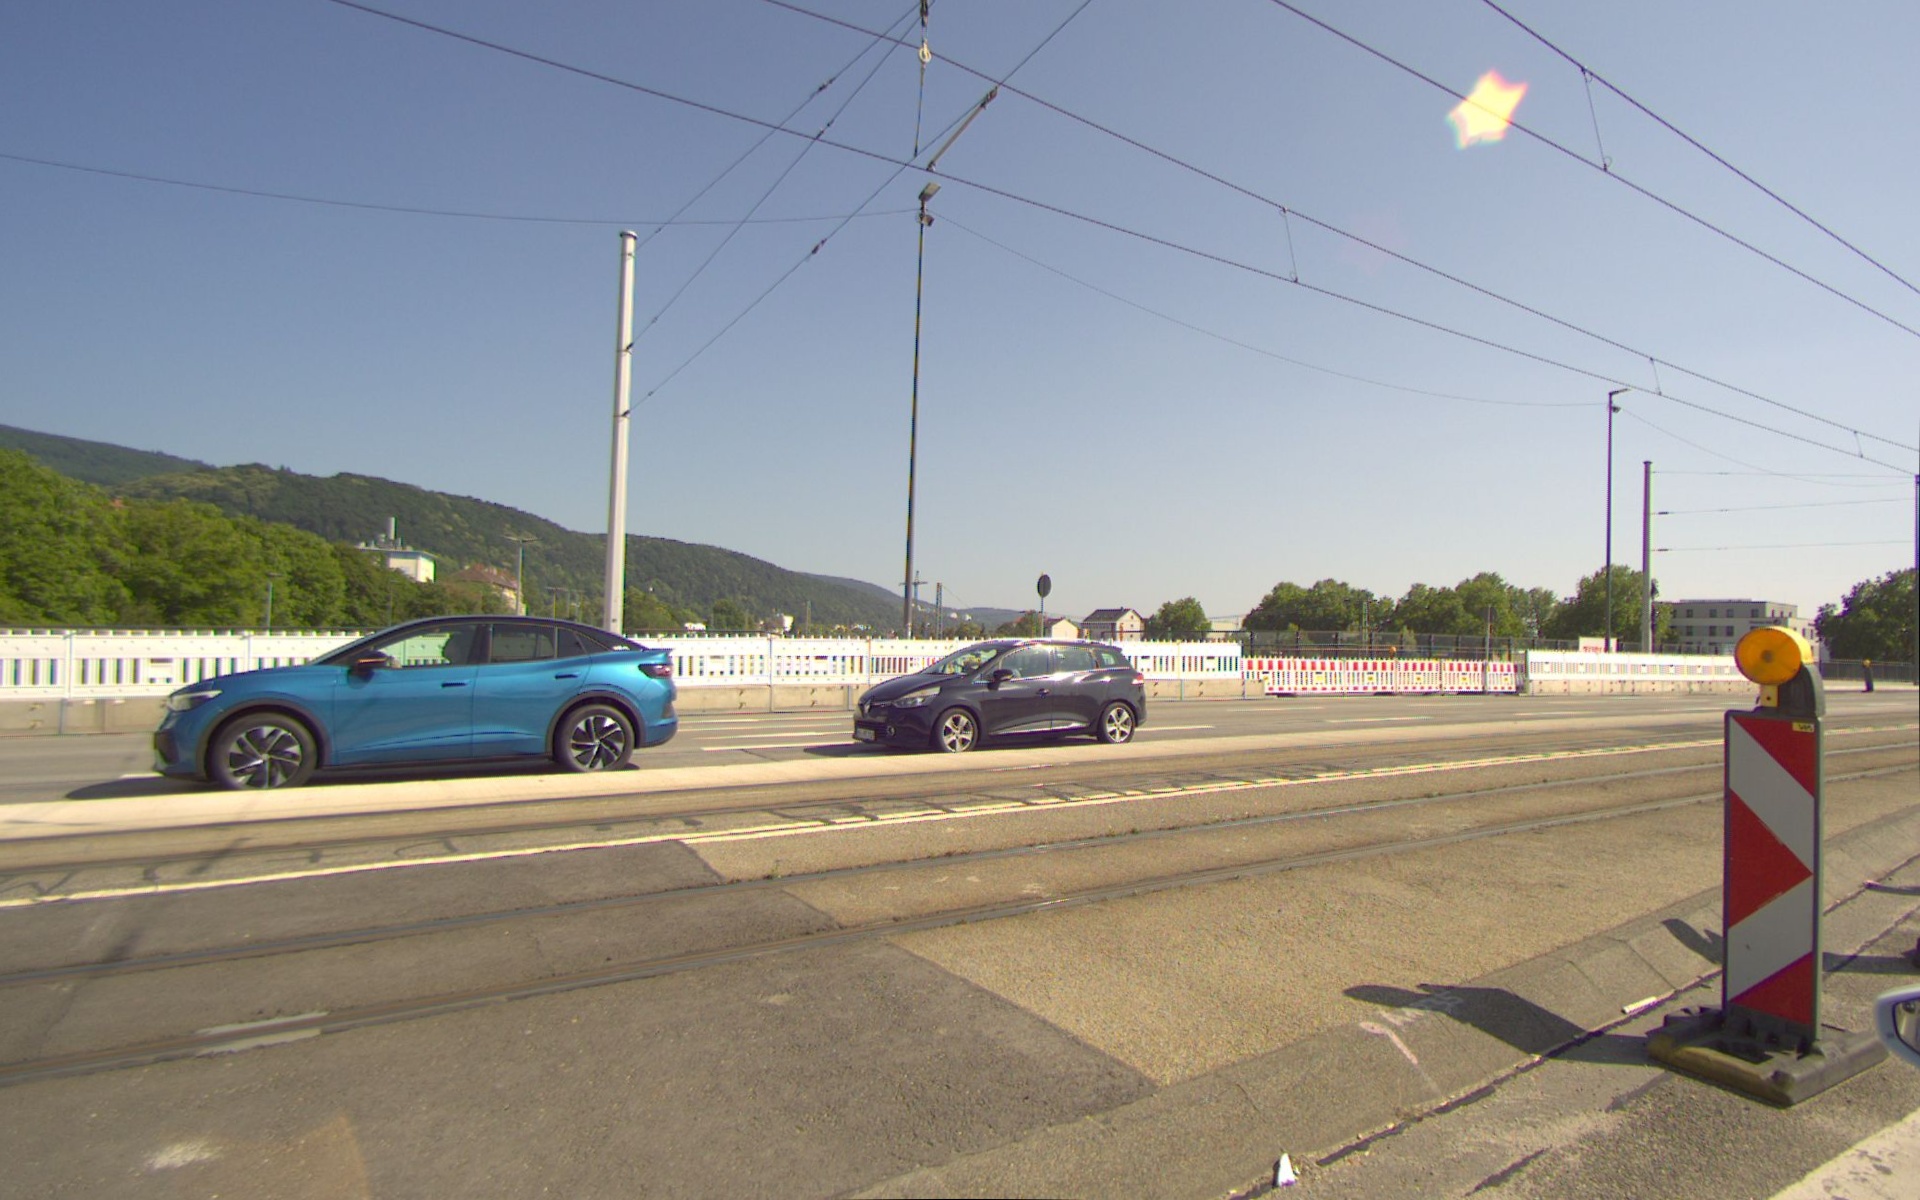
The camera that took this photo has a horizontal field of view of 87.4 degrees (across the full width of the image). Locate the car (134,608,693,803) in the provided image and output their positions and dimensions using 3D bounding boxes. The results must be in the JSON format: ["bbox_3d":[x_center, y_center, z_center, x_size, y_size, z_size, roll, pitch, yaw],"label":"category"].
[{"bbox_3d":[-5.129,0.951,9.998,4.503,1.570,1.662,2,-3,-31],"label":"car"}]

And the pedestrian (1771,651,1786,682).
[{"bbox_3d":[46.477,3.765,57.059,0.468,1.716,0.493,3,-1,-30],"label":"pedestrian"}]

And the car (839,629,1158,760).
[{"bbox_3d":[0.584,1.199,13.416,4.130,1.520,1.498,2,-4,-31],"label":"car"}]

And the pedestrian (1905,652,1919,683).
[{"bbox_3d":[59.772,4.243,62.933,0.743,1.918,0.631,2,-1,-30],"label":"pedestrian"}]

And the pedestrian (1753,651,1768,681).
[{"bbox_3d":[46.060,3.787,57.815,0.468,1.716,0.493,3,-1,-30],"label":"pedestrian"}]
